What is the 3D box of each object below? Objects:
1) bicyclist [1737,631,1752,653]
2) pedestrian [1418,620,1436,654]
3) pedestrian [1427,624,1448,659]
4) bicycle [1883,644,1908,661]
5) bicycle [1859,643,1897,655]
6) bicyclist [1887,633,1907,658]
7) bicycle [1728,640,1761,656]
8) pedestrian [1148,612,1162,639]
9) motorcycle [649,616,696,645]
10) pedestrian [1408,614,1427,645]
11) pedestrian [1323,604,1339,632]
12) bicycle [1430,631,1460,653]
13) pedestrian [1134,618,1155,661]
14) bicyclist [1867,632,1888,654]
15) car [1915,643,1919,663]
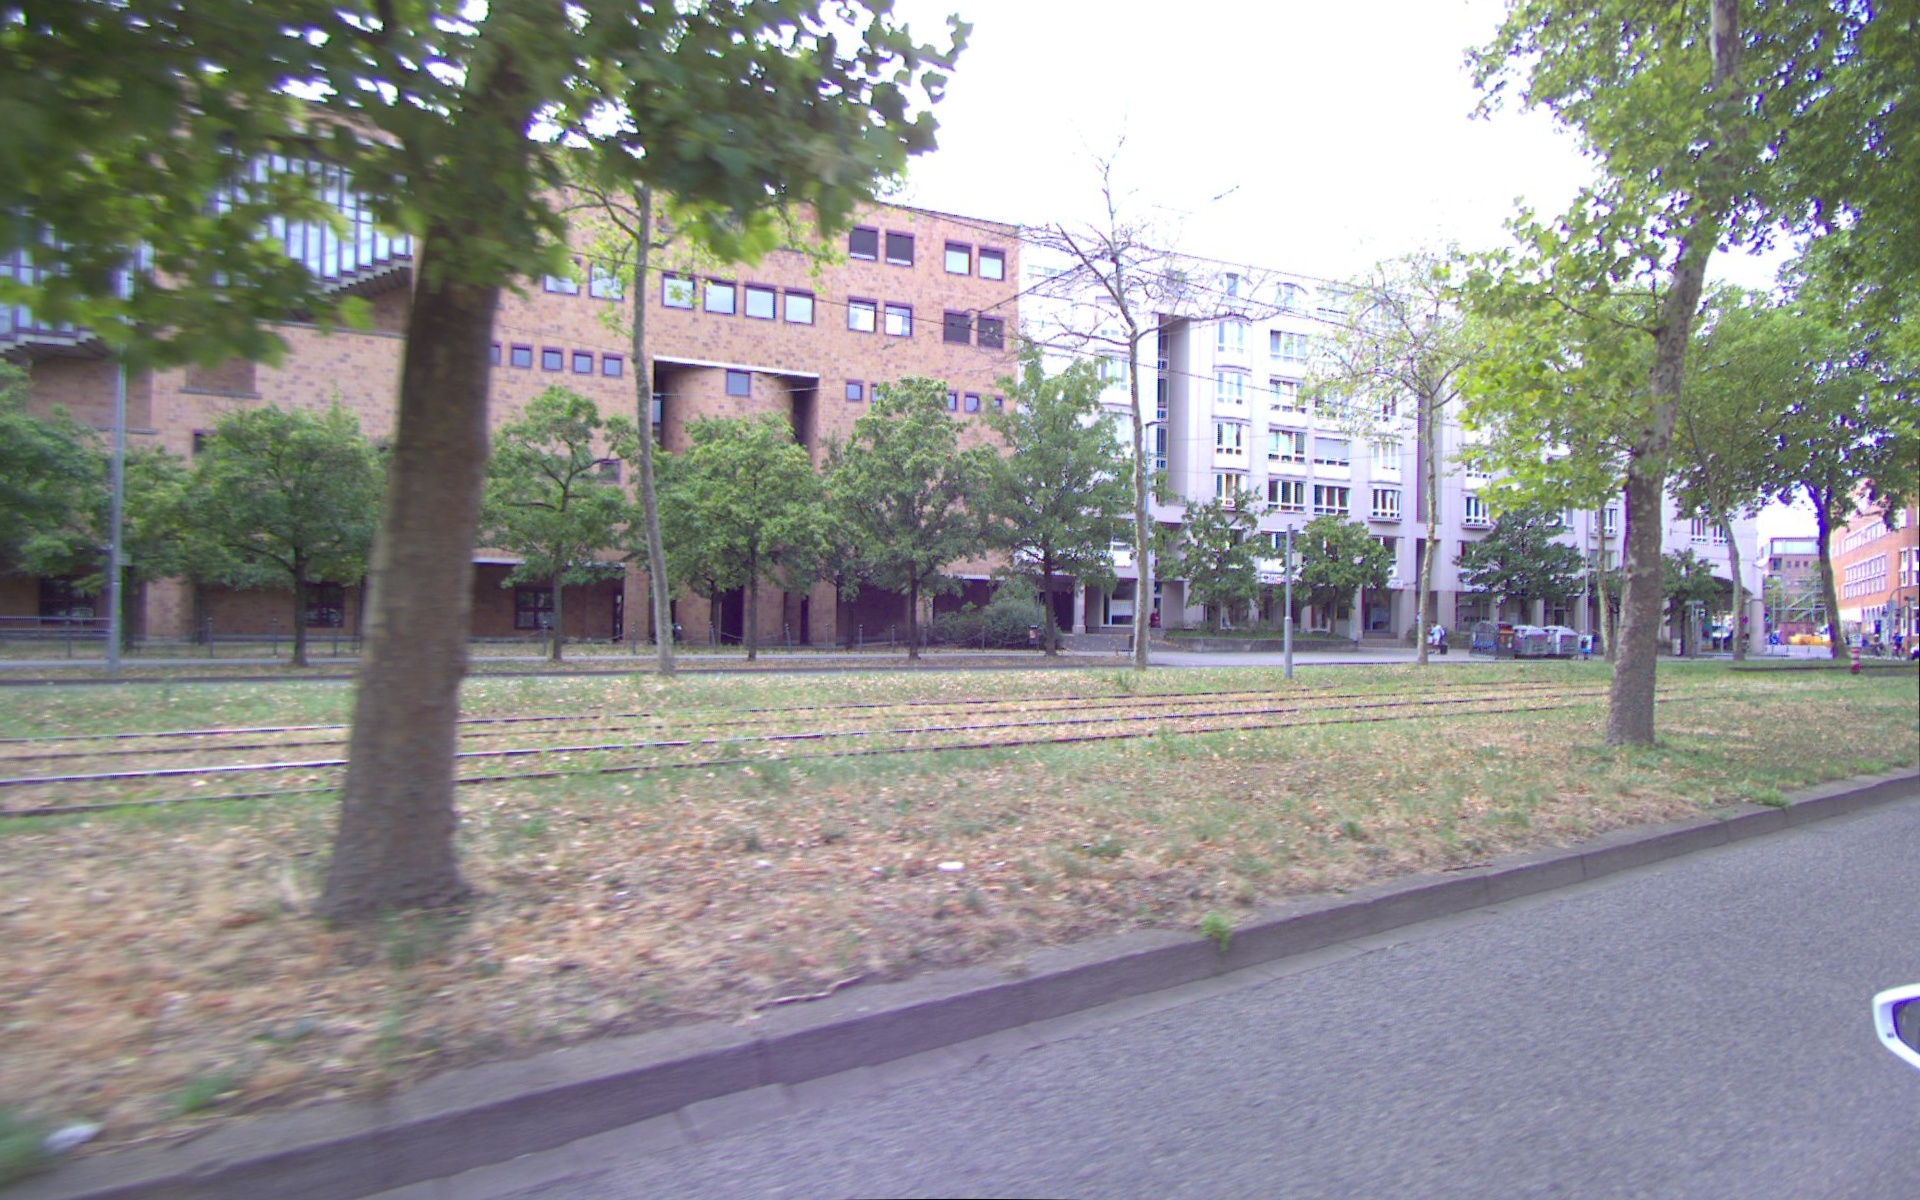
[{"bbox_3d":[59.589,3.198,76.330,0.769,1.695,0.573,1,-1,22],"label":"bicyclist"},{"bbox_3d":[23.855,1.888,51.300,0.618,1.728,0.550,1,-1,-28],"label":"pedestrian"},{"bbox_3d":[24.136,2.083,50.778,0.873,1.728,0.550,1,-1,-28],"label":"pedestrian"},{"bbox_3d":[64.972,3.647,69.743,1.853,1.106,0.688,2,-1,-27],"label":"bicycle"},{"bbox_3d":[66.559,3.547,72.865,1.949,0.847,0.579,1,-1,22],"label":"bicycle"},{"bbox_3d":[65.138,3.166,69.827,0.940,1.695,0.687,1,-1,-26],"label":"bicyclist"},{"bbox_3d":[59.601,3.652,76.321,1.840,1.106,0.578,1,-1,21],"label":"bicycle"},{"bbox_3d":[10.069,1.319,51.959,0.546,1.340,0.456,1,-1,-21],"label":"pedestrian"},{"bbox_3d":[-12.567,1.338,43.888,2.161,1.207,0.795,0,-1,35],"label":"motorcycle"},{"bbox_3d":[27.098,1.744,59.522,0.683,1.833,0.768,1,-1,-22],"label":"pedestrian"},{"bbox_3d":[22.309,1.091,60.368,0.650,1.694,0.635,1,-1,-23],"label":"pedestrian"},{"bbox_3d":[27.979,2.436,57.926,1.814,1.228,0.532,1,-1,-25],"label":"bicycle"},{"bbox_3d":[7.616,1.621,41.485,0.618,1.728,0.550,1,-1,-28],"label":"pedestrian"},{"bbox_3d":[66.555,3.099,72.868,1.014,1.583,0.582,1,-1,22],"label":"bicyclist"},{"bbox_3d":[62.974,3.439,64.295,4.486,1.261,1.719,2,-1,-33],"label":"car"}]
